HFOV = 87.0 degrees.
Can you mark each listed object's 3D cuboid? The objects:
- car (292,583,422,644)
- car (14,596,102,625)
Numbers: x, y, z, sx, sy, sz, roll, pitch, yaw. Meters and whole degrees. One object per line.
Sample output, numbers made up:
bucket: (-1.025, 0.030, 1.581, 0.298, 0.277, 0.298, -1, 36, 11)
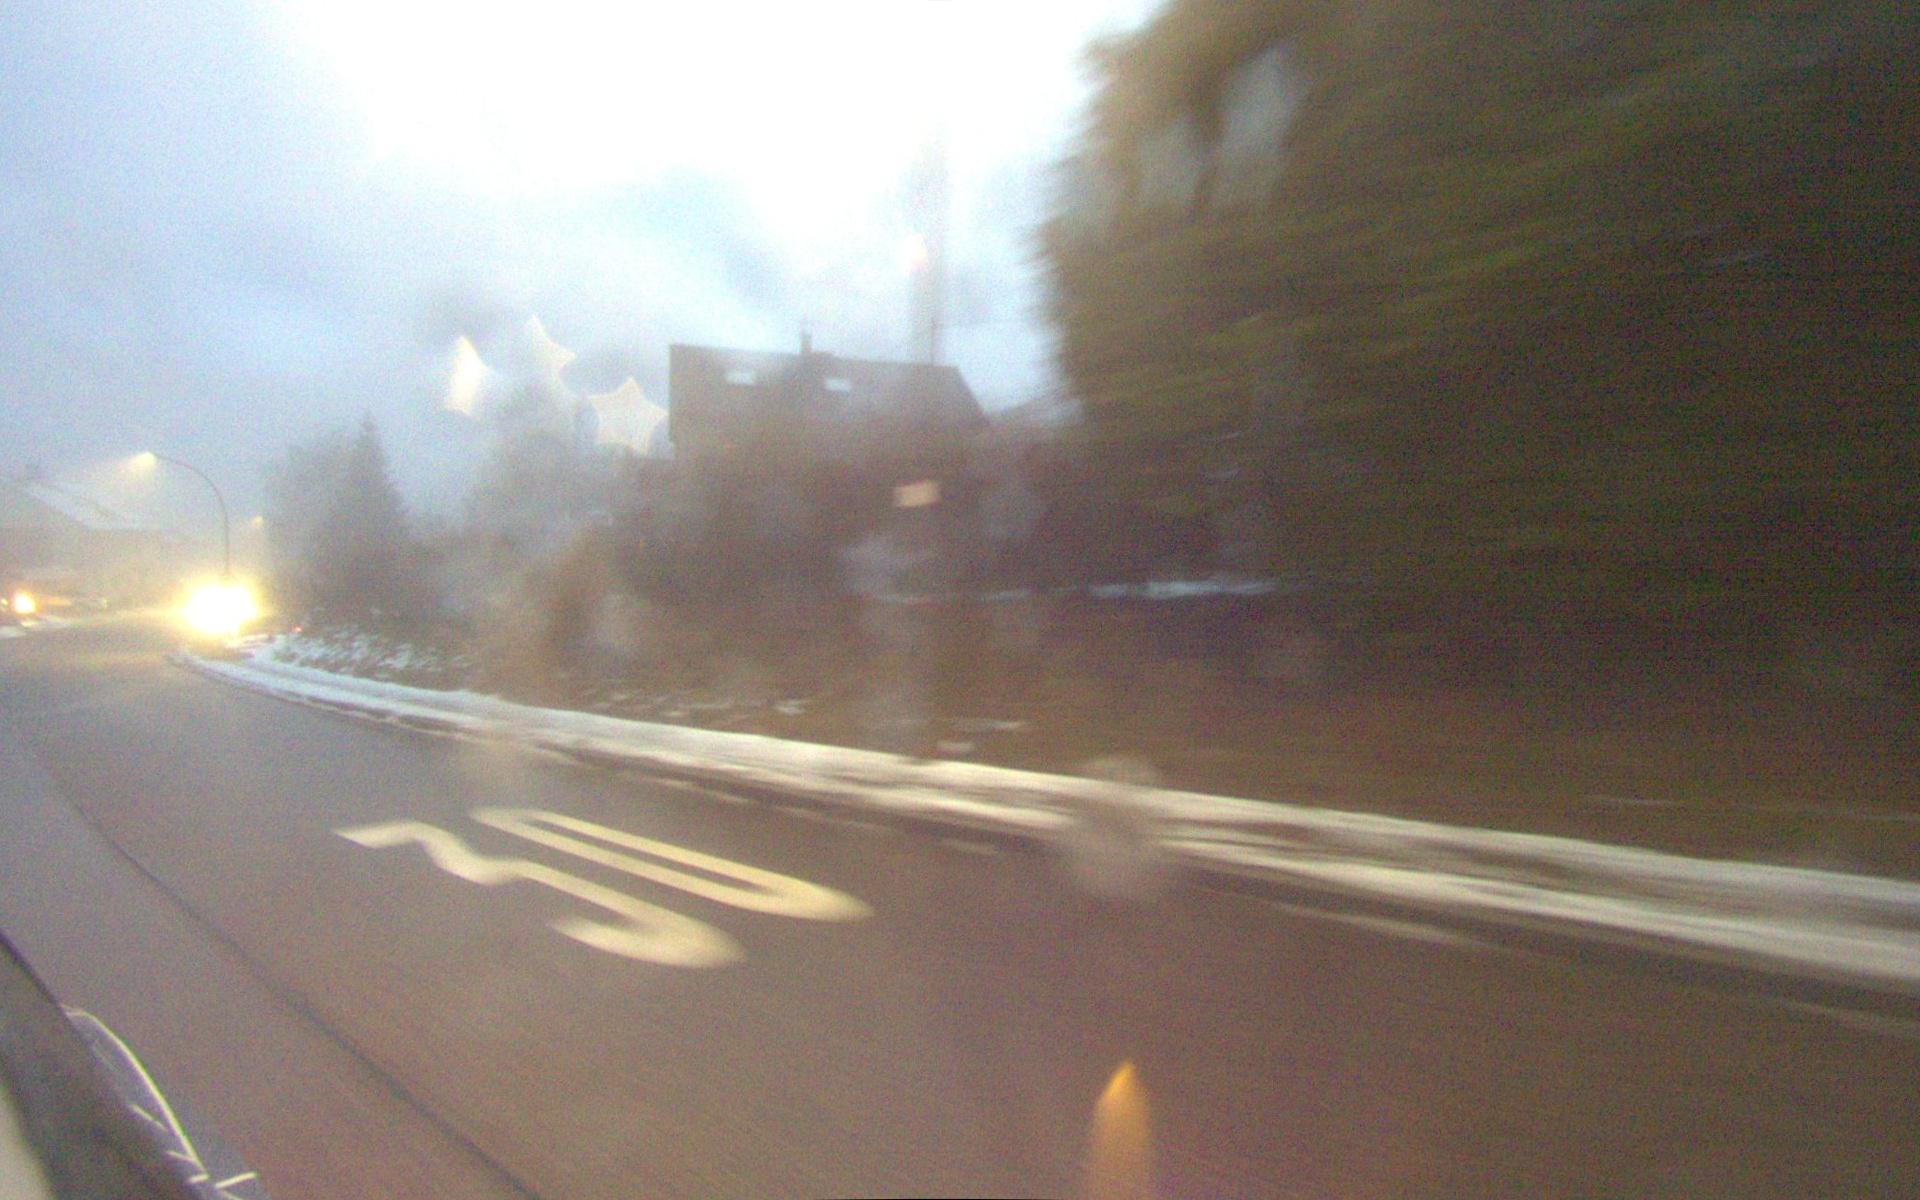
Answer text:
car: (-22.645, 0.442, 38.078, 3.937, 1.619, 1.909, -11, 7, -33)
car: (-62.962, 0.731, 70.734, 4.147, 1.872, 1.917, 2, 1, -17)
